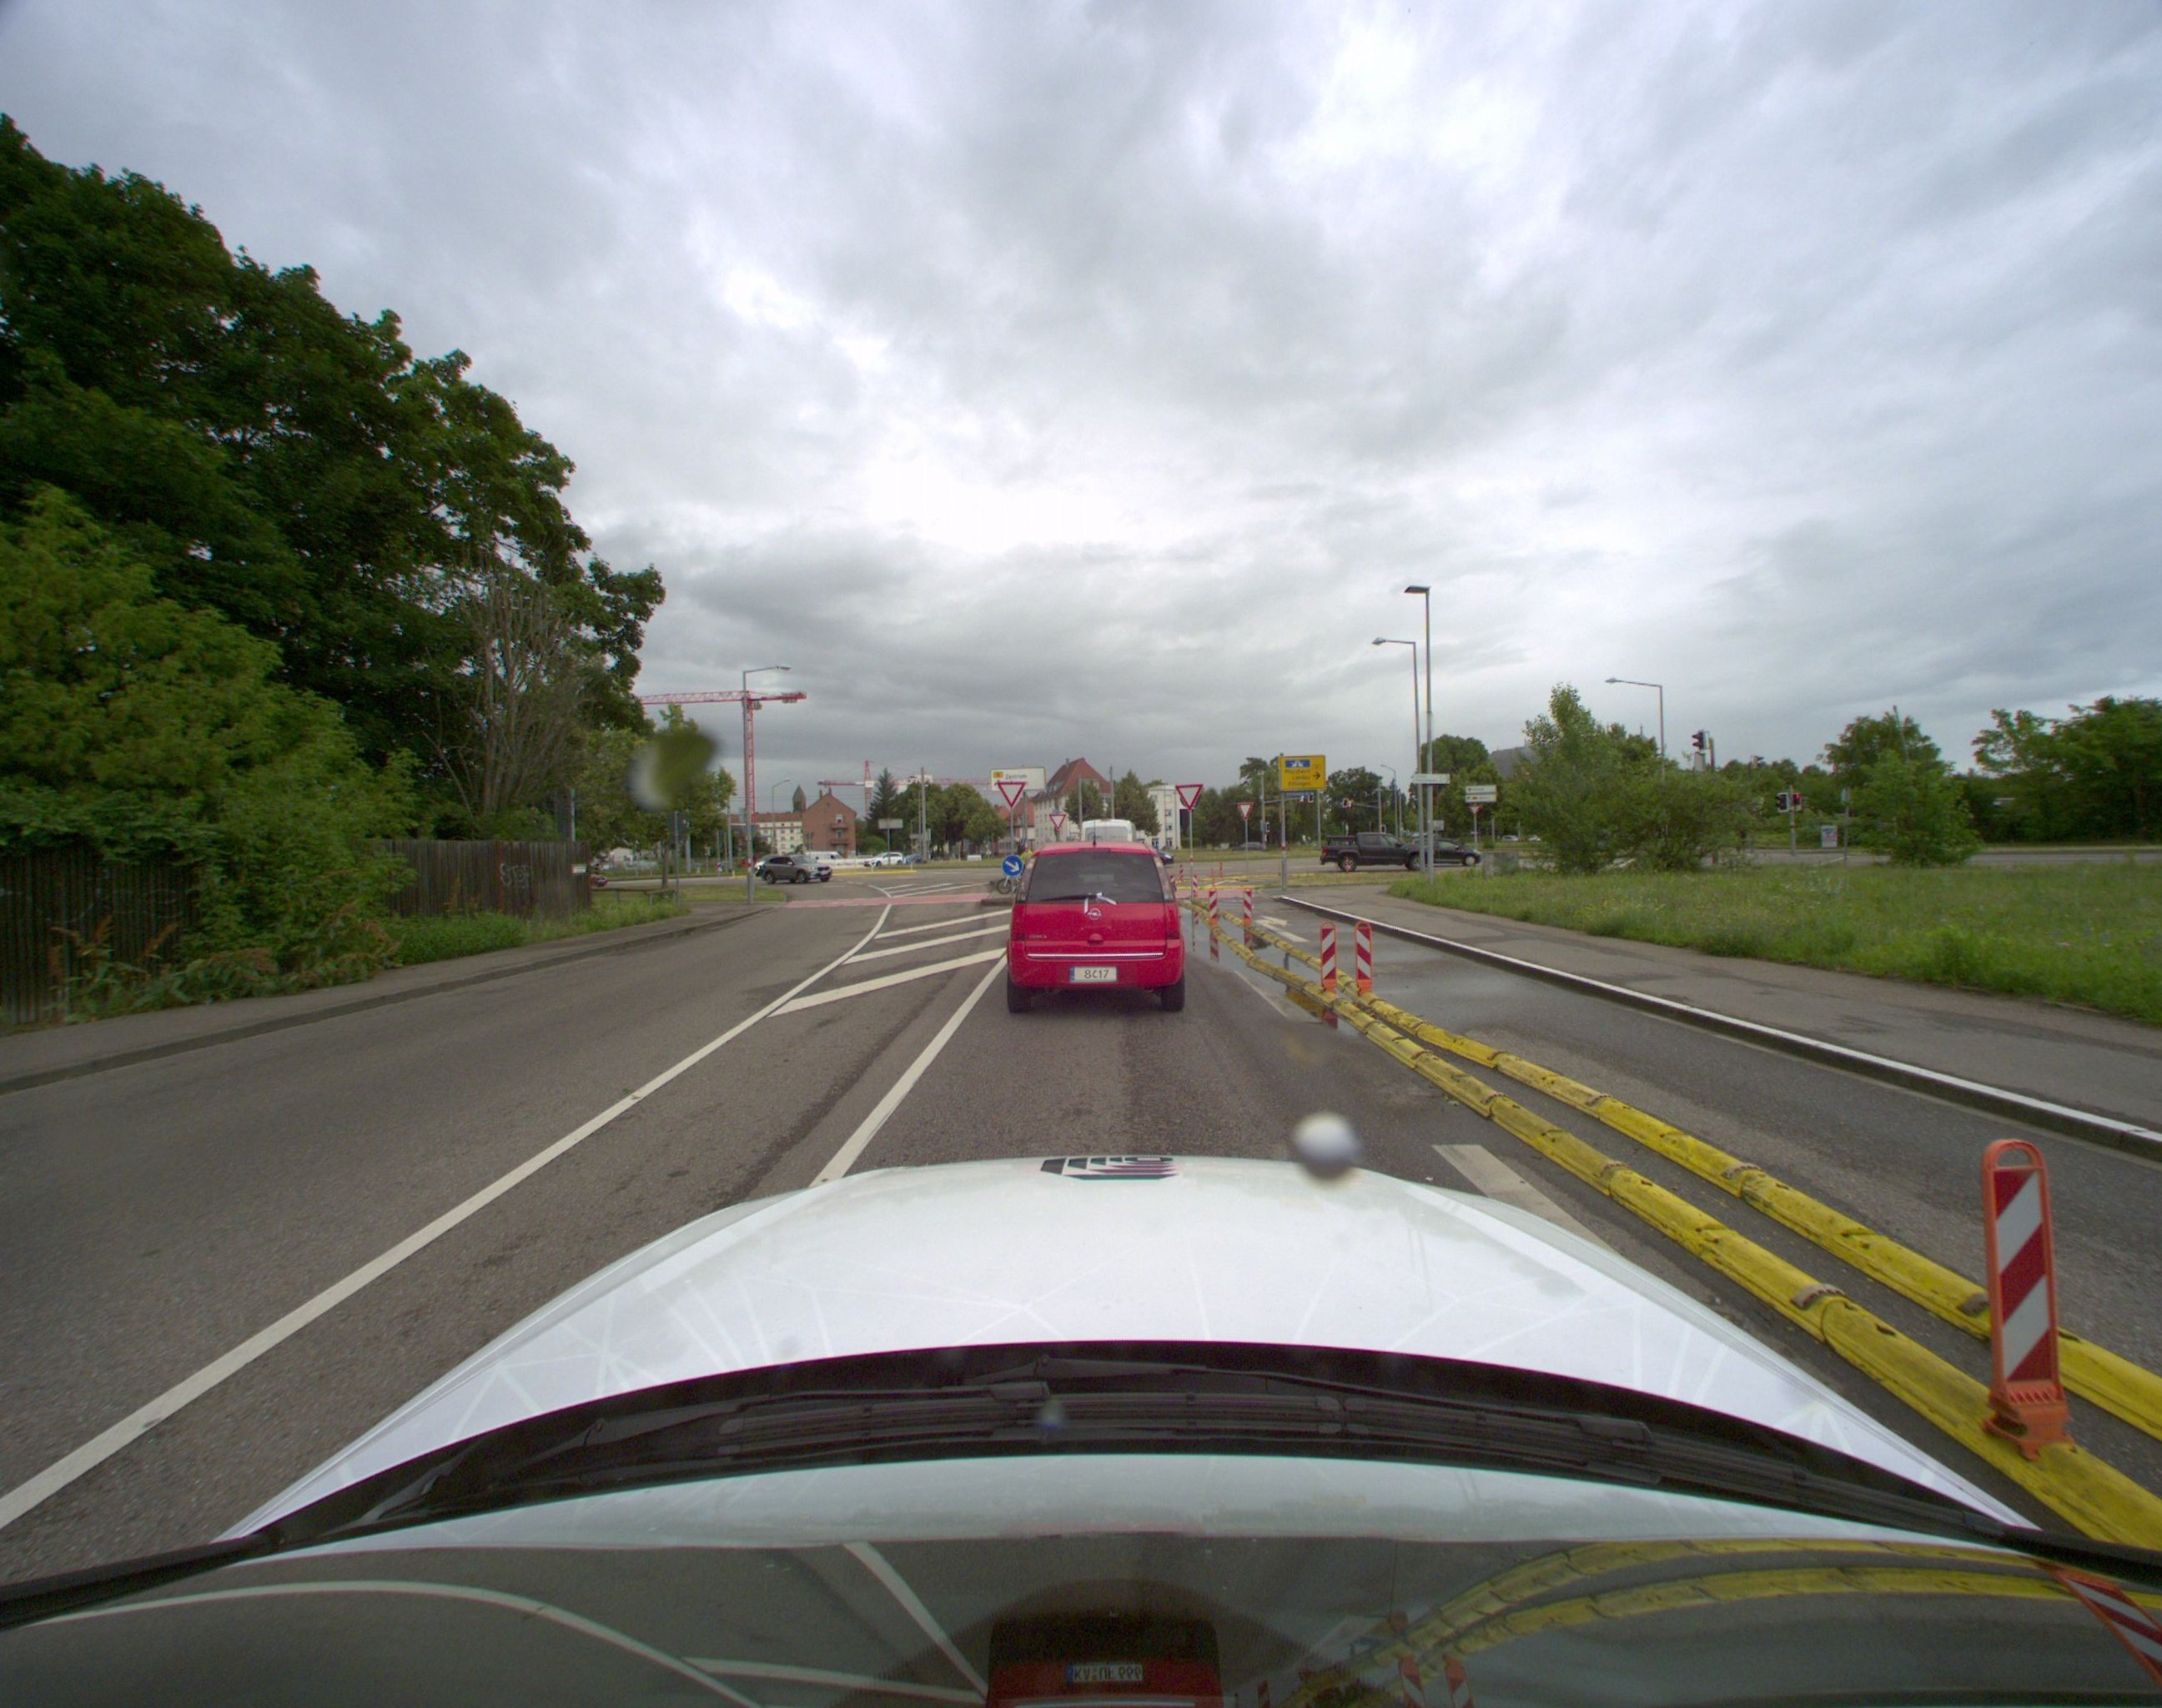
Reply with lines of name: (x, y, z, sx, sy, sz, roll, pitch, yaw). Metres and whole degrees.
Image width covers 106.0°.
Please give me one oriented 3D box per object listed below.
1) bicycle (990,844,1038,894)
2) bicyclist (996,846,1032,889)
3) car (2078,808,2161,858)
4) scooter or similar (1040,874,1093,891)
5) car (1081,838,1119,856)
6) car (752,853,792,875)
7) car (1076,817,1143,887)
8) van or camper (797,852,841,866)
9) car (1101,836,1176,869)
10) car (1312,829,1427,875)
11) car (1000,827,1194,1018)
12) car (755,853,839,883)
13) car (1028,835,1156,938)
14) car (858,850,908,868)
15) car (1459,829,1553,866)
bicycle: (-2.276, 0.509, 27.613, 1.469, 1.612, 0.607, -2, 0, 8)
bicyclist: (-2.258, 0.462, 27.616, 1.055, 1.401, 0.616, -2, 0, 8)
car: (39.640, -0.790, 29.362, 4.318, 1.750, 2.013, -2, 0, 38)
scooter or similar: (-0.487, 0.951, 27.303, 1.597, 0.504, 0.927, -2, 0, 10)
car: (2.292, -0.887, 98.726, 4.457, 2.013, 1.997, -2, 0, -5)
car: (-24.779, 0.776, 65.395, 1.928, 1.684, 4.180, -2, 0, -6)
car: (1.220, -0.079, 32.240, 2.183, 2.540, 4.973, -1, 0, 7)
van or camper: (-40.441, 0.752, 125.866, 6.136, 2.013, 2.007, -2, 0, 12)
car: (3.484, -0.074, 49.002, 4.166, 1.813, 2.085, -2, 0, 12)
car: (13.647, -0.101, 38.880, 4.987, 1.972, 2.233, -2, 0, 16)
car: (0.189, 0.576, 8.866, 1.667, 1.640, 3.628, -1, 0, 1)
car: (-16.344, 0.822, 46.839, 4.474, 1.583, 2.013, -2, 0, 29)
car: (0.237, 0.499, 15.482, 2.052, 1.648, 4.609, -1, 1, 1)
car: (-20.468, 0.529, 84.350, 1.974, 1.635, 4.705, -2, 1, 39)
car: (22.498, -0.333, 43.175, 2.012, 1.848, 3.950, -2, 1, -44)
